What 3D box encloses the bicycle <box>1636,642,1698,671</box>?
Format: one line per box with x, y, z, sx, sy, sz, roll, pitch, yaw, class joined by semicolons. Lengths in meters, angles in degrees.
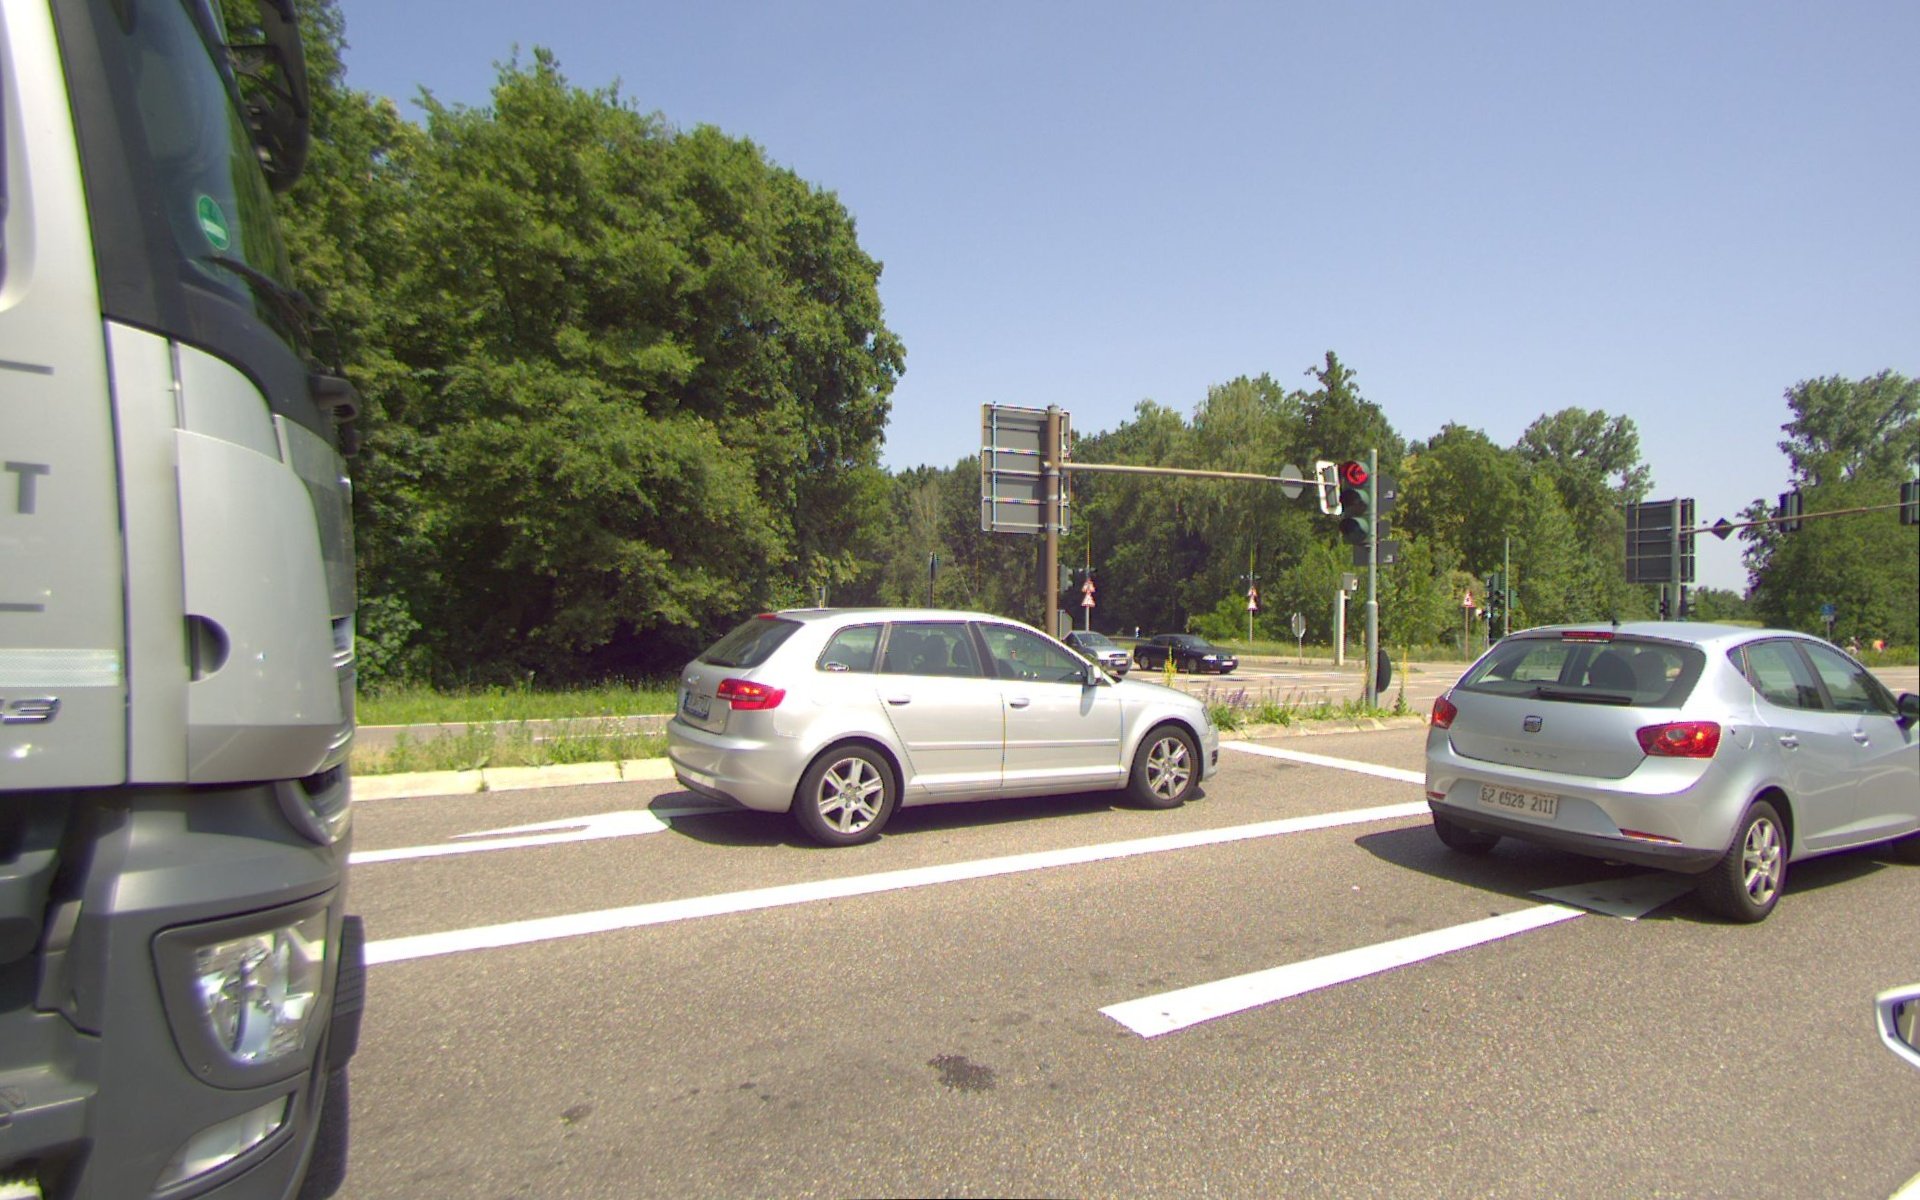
27.334;2.183;38.847;1.831;1.077;0.725;0;-1;7;bicycle

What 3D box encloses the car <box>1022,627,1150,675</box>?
4.426;1.756;35.926;2.105;1.588;4.782;1;-2;-30;car

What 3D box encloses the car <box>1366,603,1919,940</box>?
4.410;0.789;6.070;3.783;1.449;1.657;1;0;-30;car

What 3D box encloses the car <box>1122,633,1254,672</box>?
8.258;1.872;36.897;2.081;1.307;4.783;1;-2;-30;car

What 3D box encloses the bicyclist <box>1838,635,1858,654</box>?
55.150;2.760;62.406;0.583;1.211;0.735;1;-2;-19;bicyclist

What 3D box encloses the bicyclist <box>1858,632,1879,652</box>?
55.542;2.539;61.435;0.583;1.211;0.756;1;-2;-20;bicyclist

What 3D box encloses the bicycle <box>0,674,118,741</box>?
-13.563;1.576;14.849;1.581;0.935;0.564;1;-1;-21;bicycle

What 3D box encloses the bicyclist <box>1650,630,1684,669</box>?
27.326;1.900;38.820;0.701;1.479;0.927;0;-1;7;bicyclist

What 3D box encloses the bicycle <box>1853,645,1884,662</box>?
55.512;3.263;61.401;1.773;1.018;0.675;1;-2;-21;bicycle

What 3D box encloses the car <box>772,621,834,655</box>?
-9.345;2.244;59.523;1.977;1.923;4.782;1;-2;-30;car

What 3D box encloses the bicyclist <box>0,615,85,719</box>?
-13.602;0.972;14.849;0.798;1.484;0.658;1;-1;-21;bicyclist

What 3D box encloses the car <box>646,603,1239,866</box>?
-0.031;0.766;7.280;3.971;1.410;1.755;1;0;-33;car

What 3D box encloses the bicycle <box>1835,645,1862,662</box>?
55.185;3.340;62.371;1.531;1.019;0.604;1;-2;-20;bicycle
